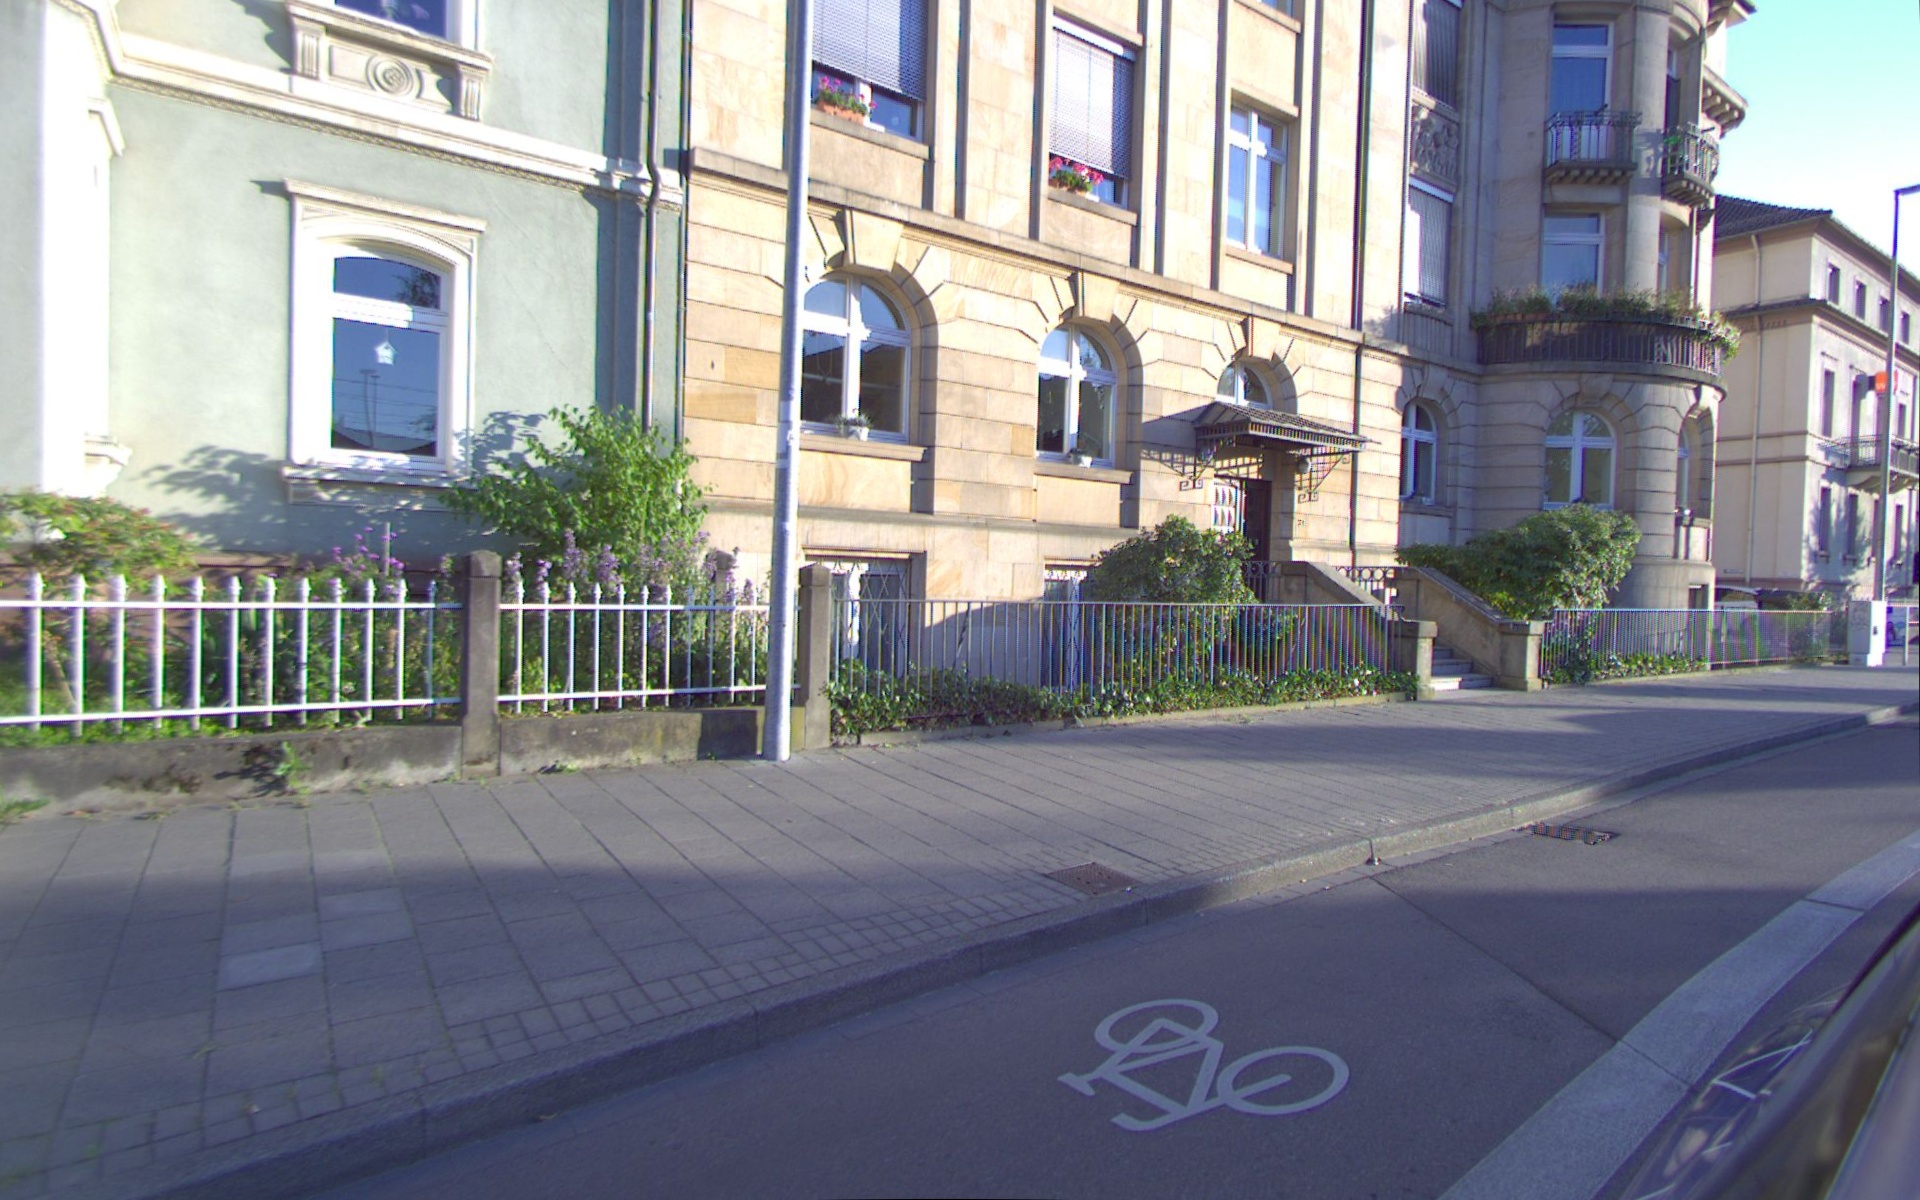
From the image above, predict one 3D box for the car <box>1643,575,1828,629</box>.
[{"bbox_3d":[23.583,0.031,30.908,1.901,1.499,4.101,0,1,-35],"label":"car"}]
